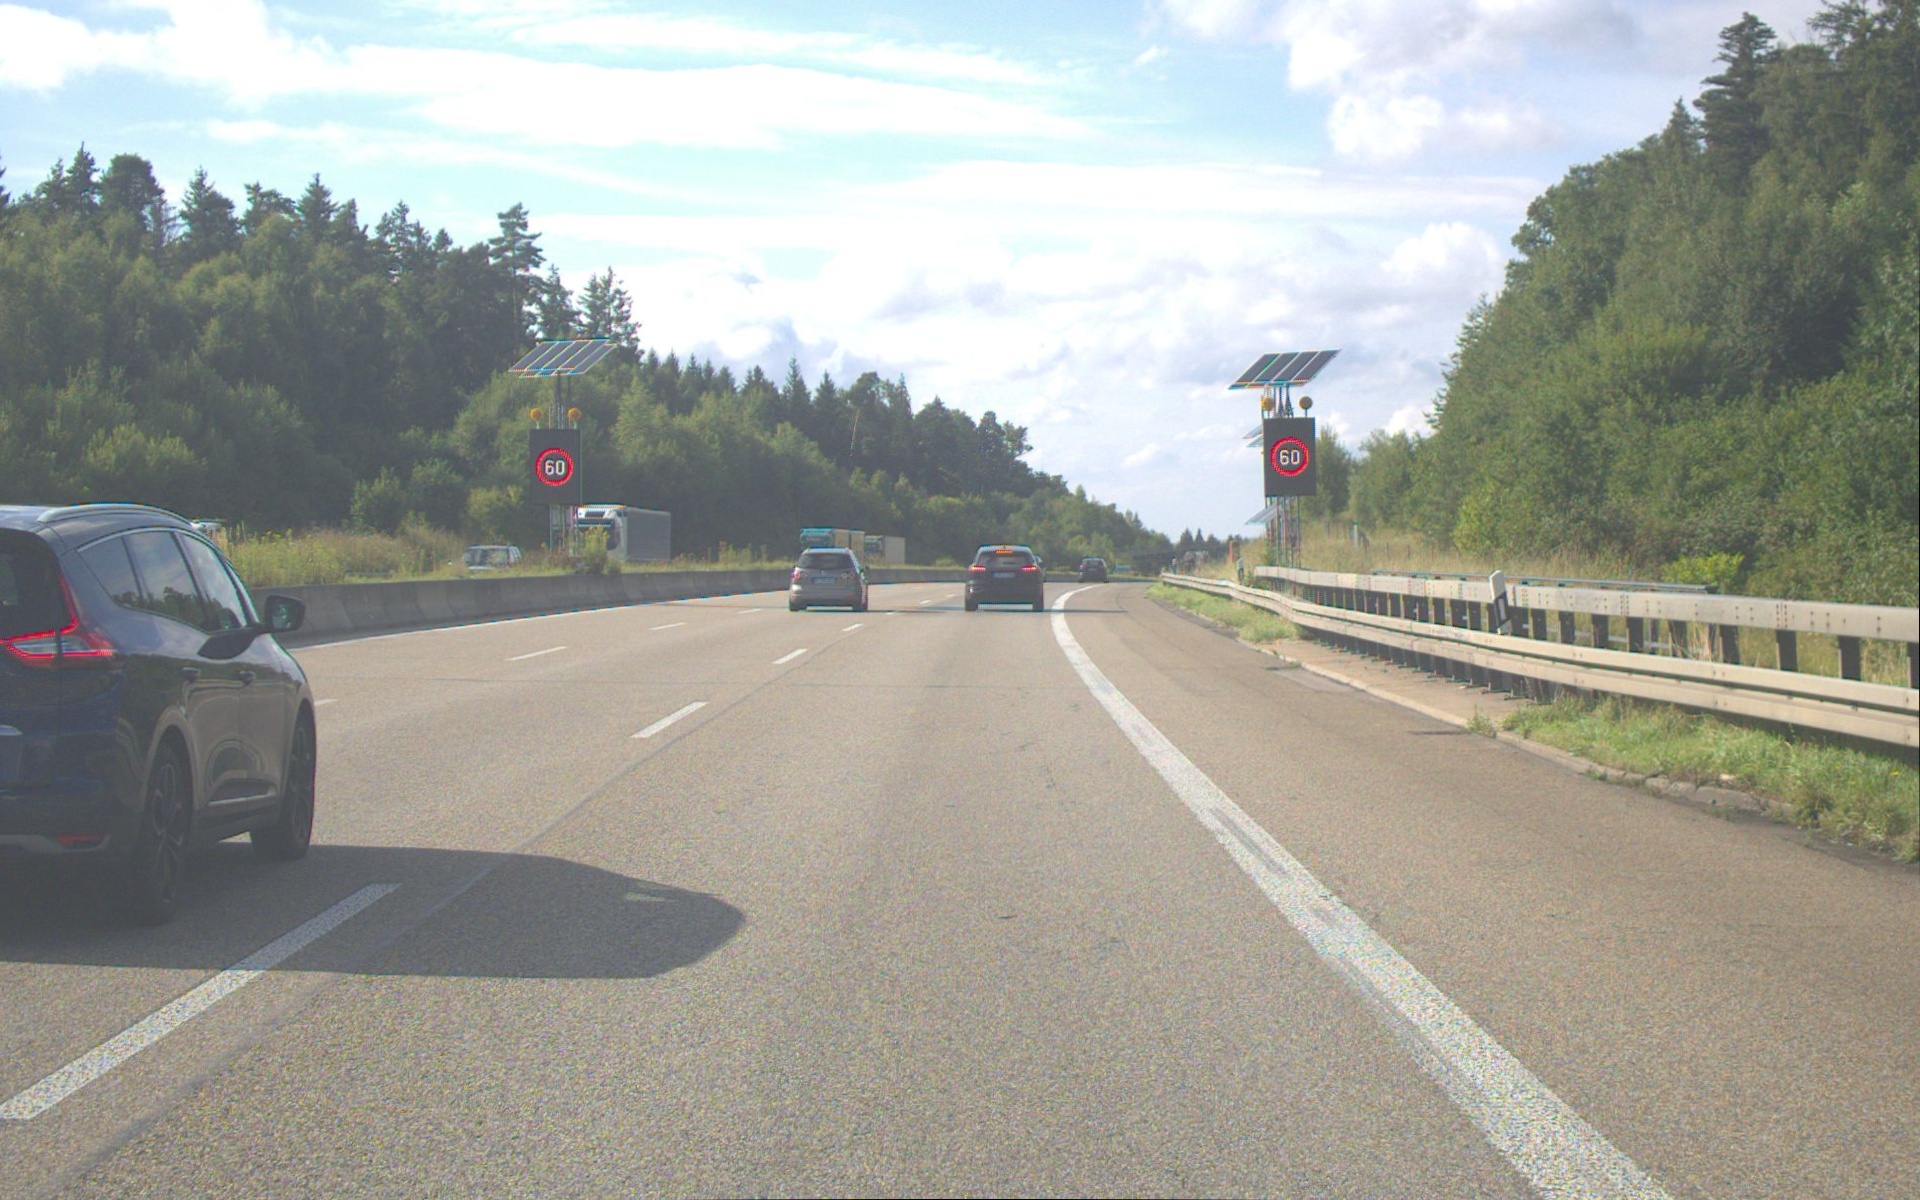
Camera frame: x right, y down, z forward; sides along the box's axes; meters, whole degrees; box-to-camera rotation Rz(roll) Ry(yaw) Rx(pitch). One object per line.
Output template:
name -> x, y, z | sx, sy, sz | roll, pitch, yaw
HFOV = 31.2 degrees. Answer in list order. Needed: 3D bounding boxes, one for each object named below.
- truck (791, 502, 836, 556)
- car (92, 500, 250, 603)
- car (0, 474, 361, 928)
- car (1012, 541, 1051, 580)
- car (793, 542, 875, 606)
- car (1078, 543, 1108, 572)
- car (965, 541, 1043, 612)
truck -> -11.010, -5.338, 259.150 | 2.650, 4.072, 6.415 | 0, 1, 5
car -> -19.539, -1.211, 85.420 | 2.310, 2.310, 6.192 | 4, 1, 1
car -> -3.987, 0.331, 15.143 | 1.993, 1.701, 4.529 | 0, 1, -1
car -> 3.821, -2.110, 182.265 | 1.993, 2.007, 4.000 | 1, 1, 2
car -> -3.075, -0.656, 84.329 | 1.873, 1.492, 3.880 | 1, 2, 0
car -> 8.167, -2.626, 211.276 | 1.812, 1.700, 4.000 | 0, 1, 1
car -> 1.095, -0.604, 85.569 | 1.873, 1.669, 3.890 | 1, 2, 1
